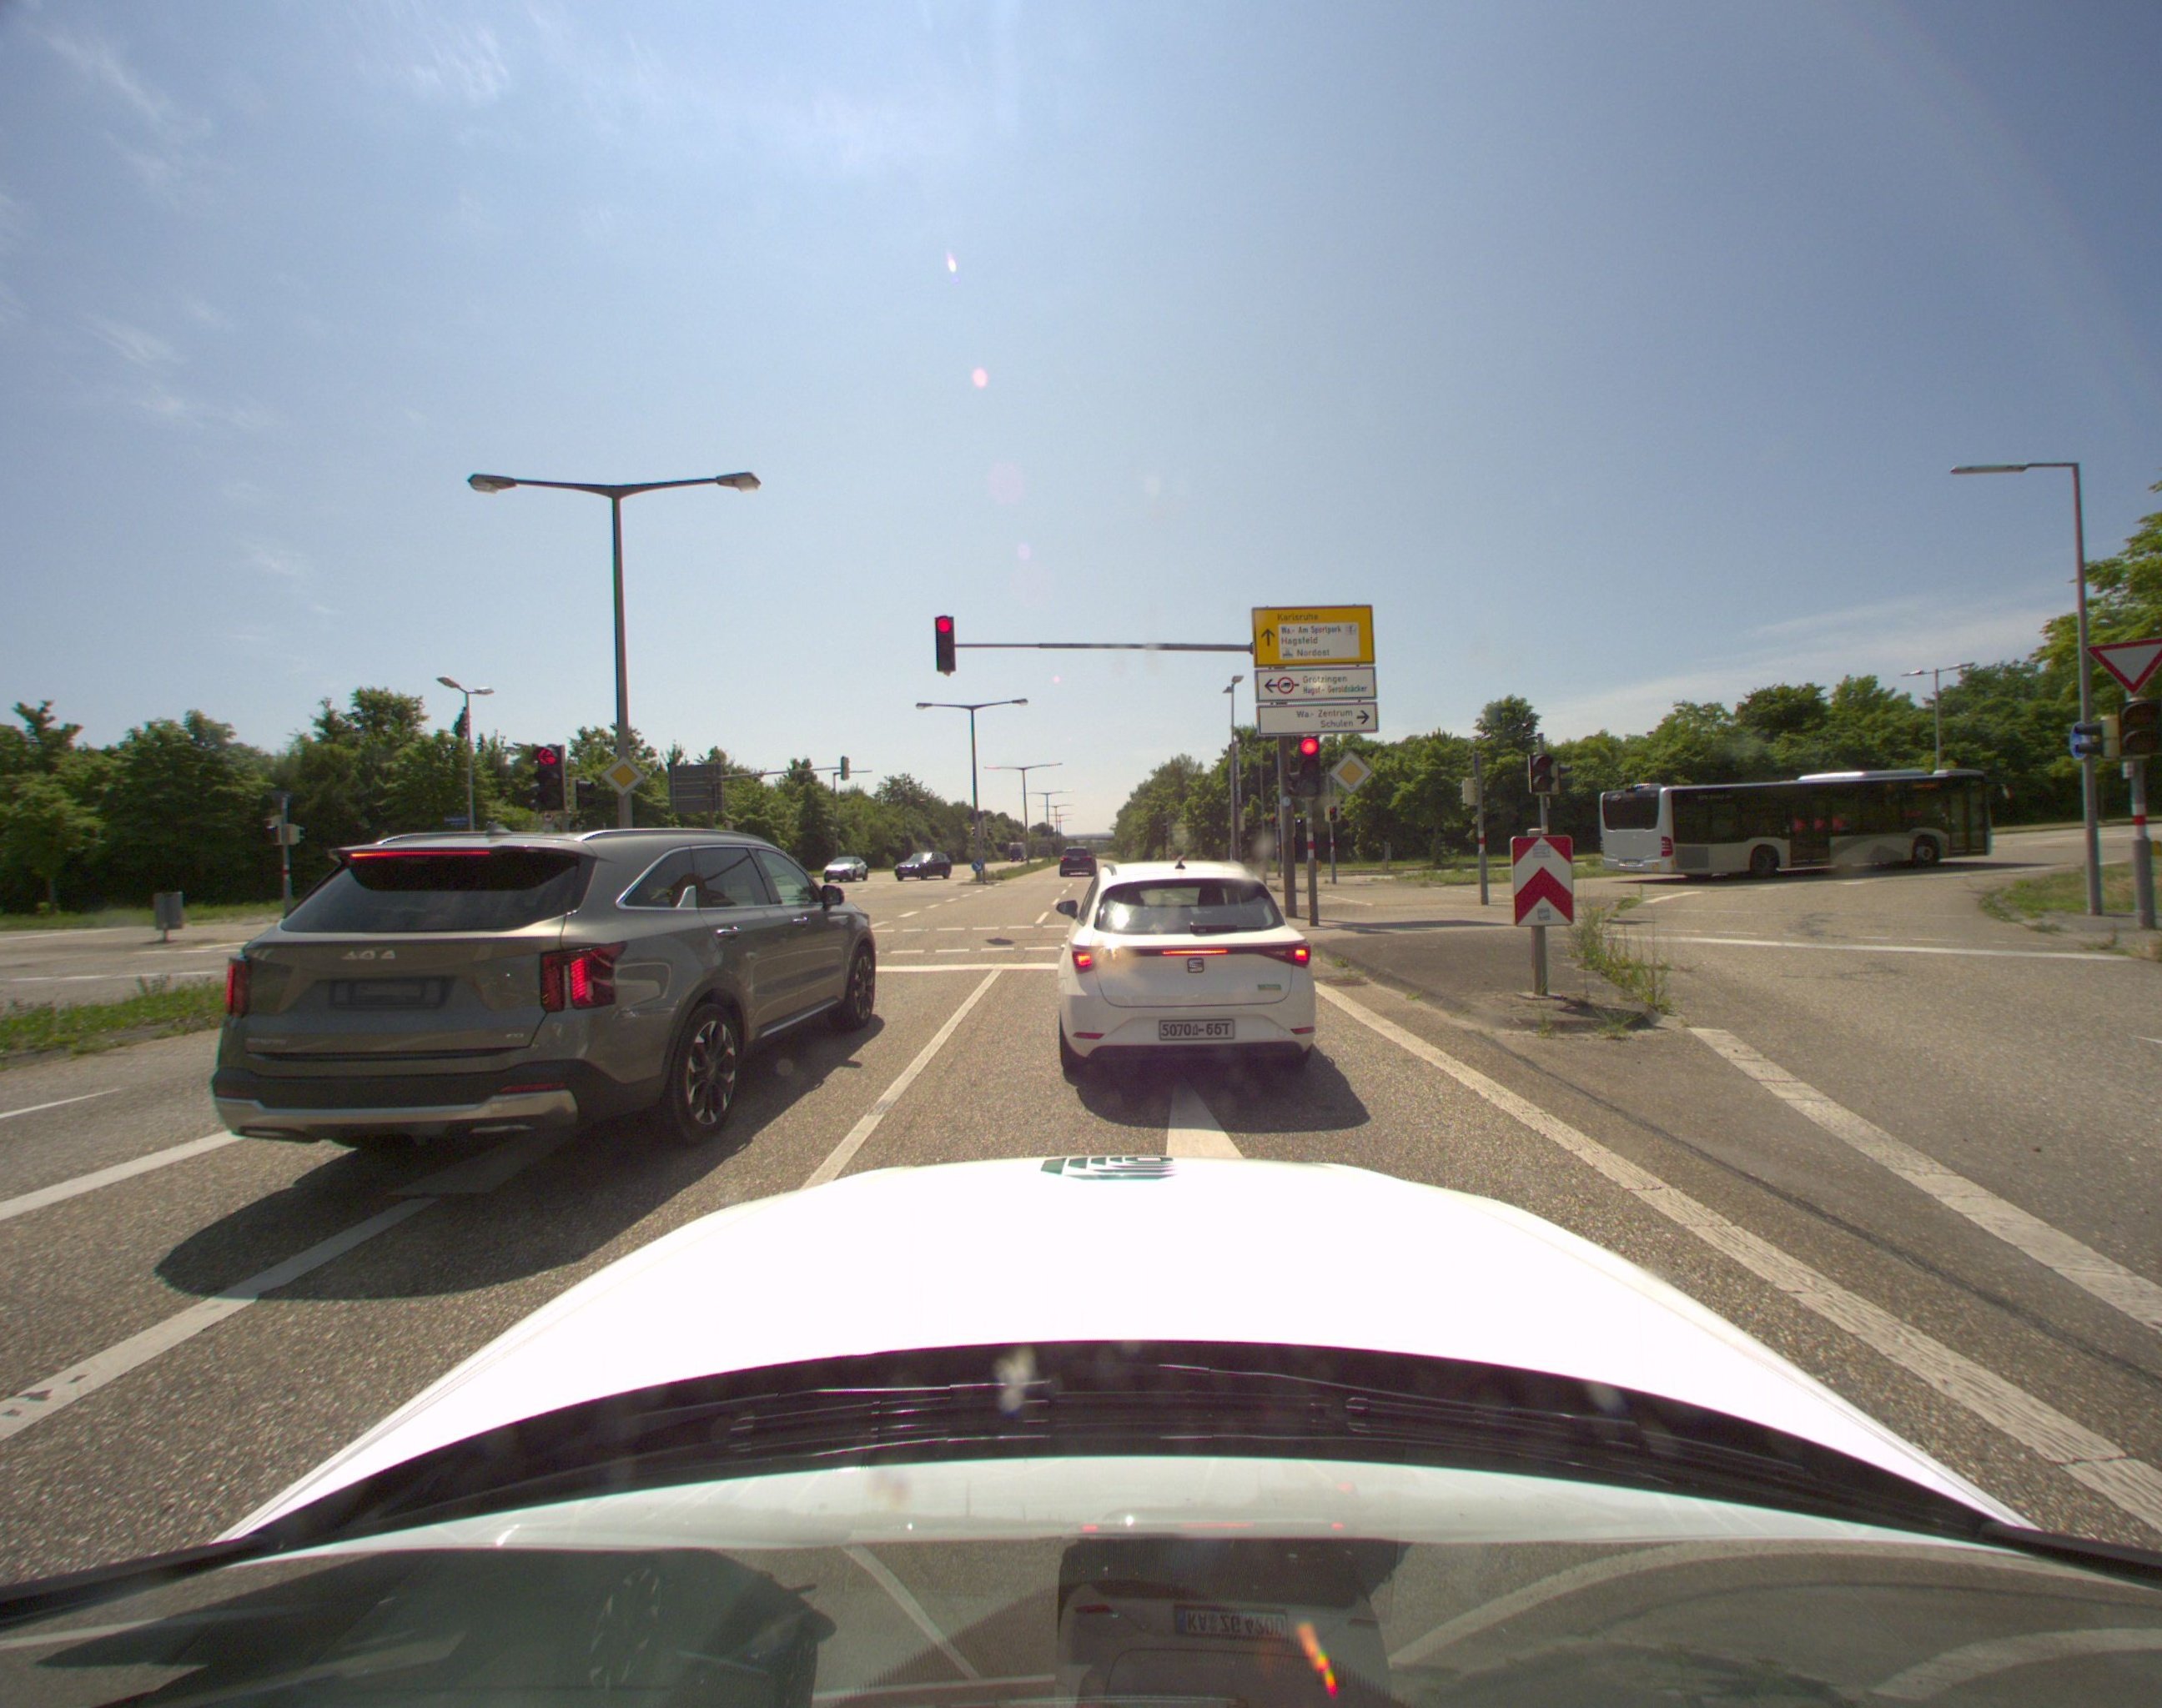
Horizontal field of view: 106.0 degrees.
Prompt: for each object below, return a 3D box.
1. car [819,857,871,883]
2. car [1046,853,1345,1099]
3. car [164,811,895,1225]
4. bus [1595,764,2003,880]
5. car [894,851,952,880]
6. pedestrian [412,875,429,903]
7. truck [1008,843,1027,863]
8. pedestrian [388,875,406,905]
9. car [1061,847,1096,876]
[{"bbox_3d":[-14.681,0.941,50.930,1.815,1.455,4.171,-2,0,2],"label":"car"},{"bbox_3d":[0.724,0.727,6.601,1.728,1.428,3.696,0,-1,2],"label":"car"},{"bbox_3d":[-2.824,0.682,5.700,1.797,1.662,4.646,-2,0,2],"label":"car"},{"bbox_3d":[22.365,-1.028,25.429,12.042,3.086,2.622,-2,0,-10],"label":"bus"},{"bbox_3d":[-9.762,0.690,50.641,1.693,1.663,4.242,-2,0,17],"label":"car"},{"bbox_3d":[-36.630,1.949,45.151,0.620,1.503,0.790,-2,0,-34],"label":"pedestrian"},{"bbox_3d":[-11.984,-0.220,153.946,2.677,3.570,7.269,-2,0,1],"label":"truck"},{"bbox_3d":[-37.505,1.971,44.661,0.620,1.603,0.790,-2,0,-34],"label":"pedestrian"},{"bbox_3d":[-0.116,0.433,50.809,1.847,1.709,4.004,-2,0,4],"label":"car"}]
